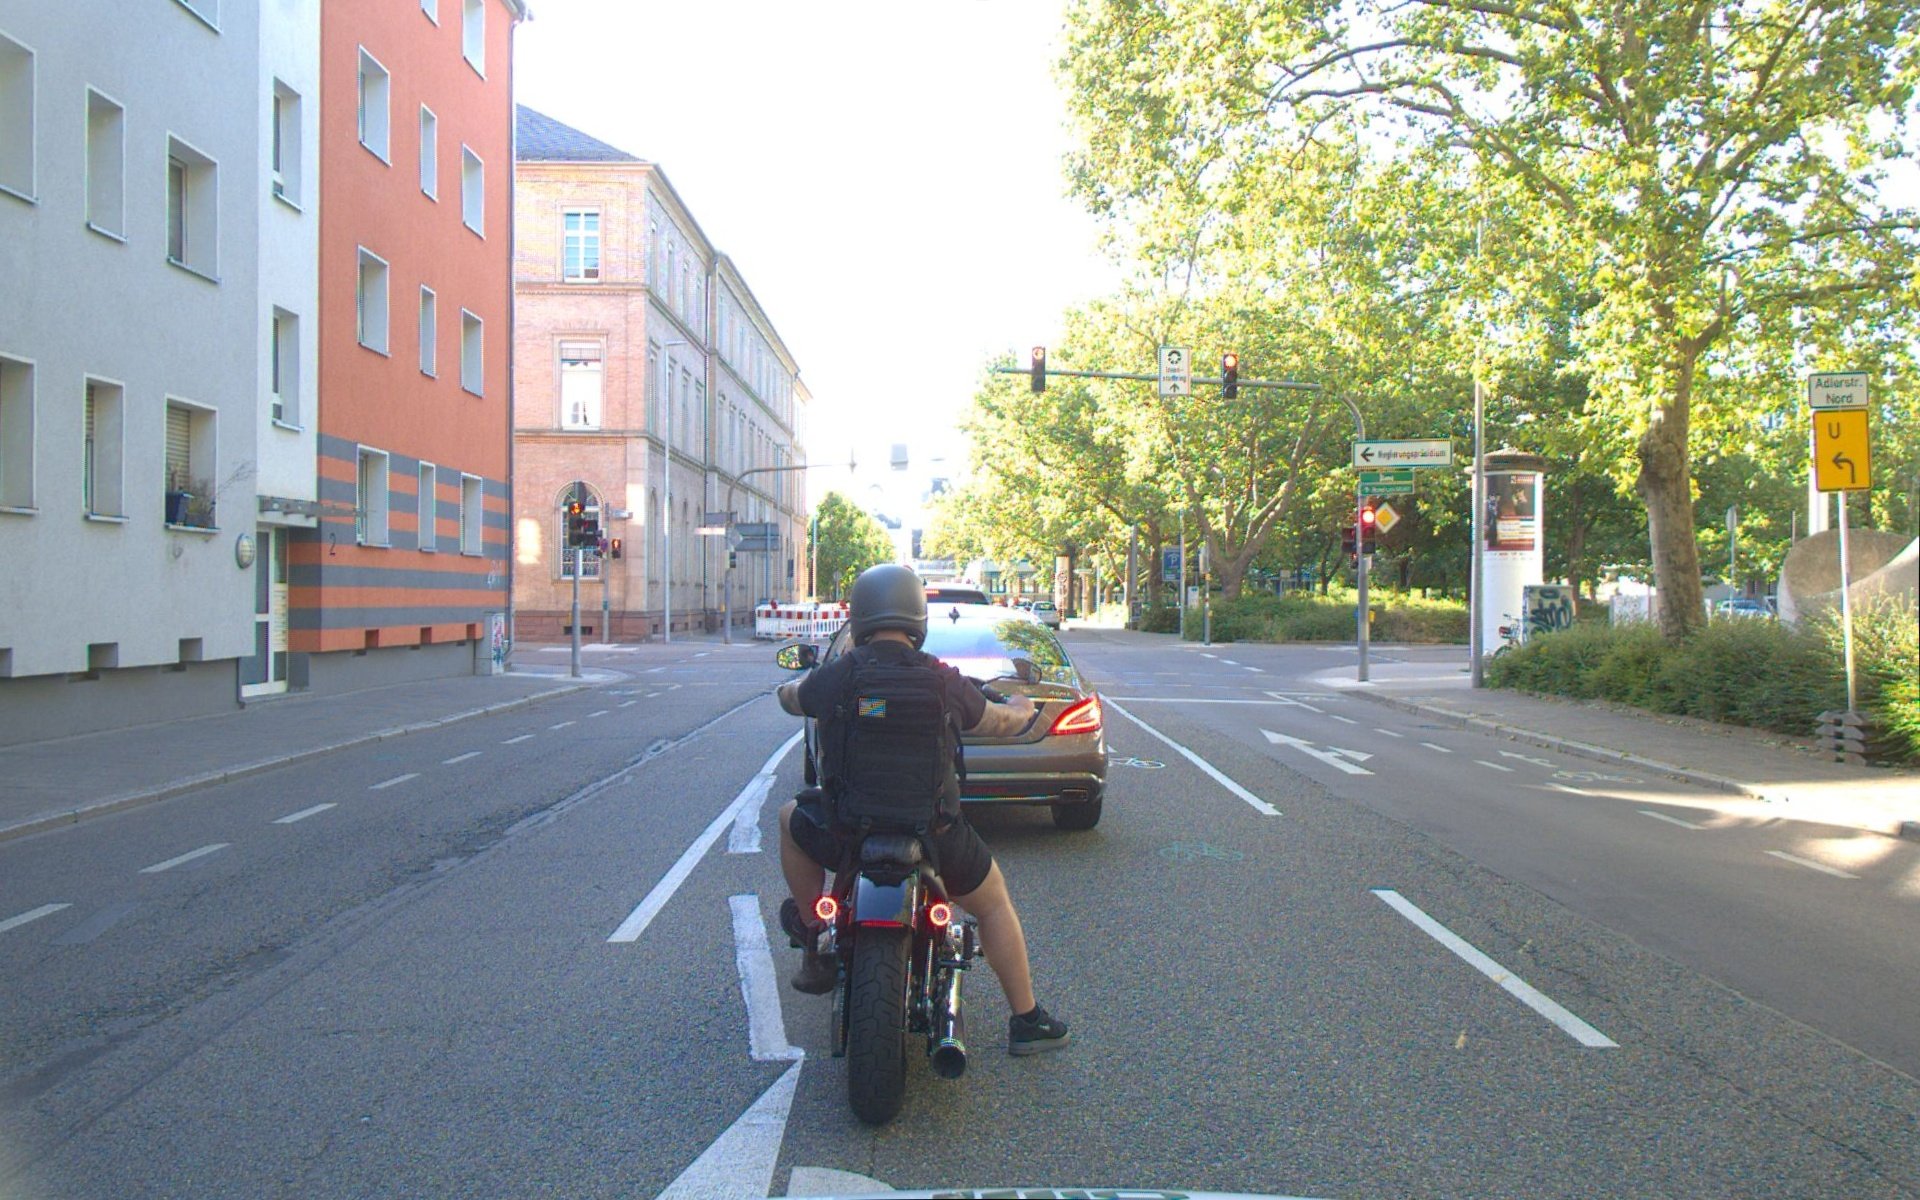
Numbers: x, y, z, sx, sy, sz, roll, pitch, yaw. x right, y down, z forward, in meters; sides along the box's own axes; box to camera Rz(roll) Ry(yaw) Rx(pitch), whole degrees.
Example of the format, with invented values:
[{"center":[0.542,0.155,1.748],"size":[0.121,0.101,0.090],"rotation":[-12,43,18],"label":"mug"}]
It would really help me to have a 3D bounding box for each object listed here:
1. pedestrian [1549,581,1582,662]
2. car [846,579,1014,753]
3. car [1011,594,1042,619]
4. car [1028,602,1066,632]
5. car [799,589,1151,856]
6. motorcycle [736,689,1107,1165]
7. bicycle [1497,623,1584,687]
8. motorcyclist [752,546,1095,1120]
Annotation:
[{"center":[14.118,0.504,38.578],"size":[0.540,1.881,0.593],"rotation":[0,0,0],"label":"pedestrian"},{"center":[-0.335,0.614,17.756],"size":[1.580,1.636,4.327],"rotation":[0,0,-2],"label":"car"},{"center":[4.129,0.428,103.555],"size":[1.817,1.512,3.908],"rotation":[1,0,1],"label":"car"},{"center":[4.535,0.886,86.515],"size":[1.784,1.506,3.908],"rotation":[-1,0,0],"label":"car"},{"center":[-0.113,0.679,11.592],"size":[1.909,1.498,4.355],"rotation":[0,0,-7],"label":"car"},{"center":[-0.117,0.920,5.552],"size":[0.969,1.097,2.451],"rotation":[0,0,-1],"label":"motorcycle"},{"center":[9.744,0.921,27.780],"size":[1.324,1.041,0.363],"rotation":[0,0,0],"label":"bicycle"},{"center":[-0.112,0.657,5.398],"size":[0.969,1.625,1.403],"rotation":[0,0,-1],"label":"motorcyclist"}]
